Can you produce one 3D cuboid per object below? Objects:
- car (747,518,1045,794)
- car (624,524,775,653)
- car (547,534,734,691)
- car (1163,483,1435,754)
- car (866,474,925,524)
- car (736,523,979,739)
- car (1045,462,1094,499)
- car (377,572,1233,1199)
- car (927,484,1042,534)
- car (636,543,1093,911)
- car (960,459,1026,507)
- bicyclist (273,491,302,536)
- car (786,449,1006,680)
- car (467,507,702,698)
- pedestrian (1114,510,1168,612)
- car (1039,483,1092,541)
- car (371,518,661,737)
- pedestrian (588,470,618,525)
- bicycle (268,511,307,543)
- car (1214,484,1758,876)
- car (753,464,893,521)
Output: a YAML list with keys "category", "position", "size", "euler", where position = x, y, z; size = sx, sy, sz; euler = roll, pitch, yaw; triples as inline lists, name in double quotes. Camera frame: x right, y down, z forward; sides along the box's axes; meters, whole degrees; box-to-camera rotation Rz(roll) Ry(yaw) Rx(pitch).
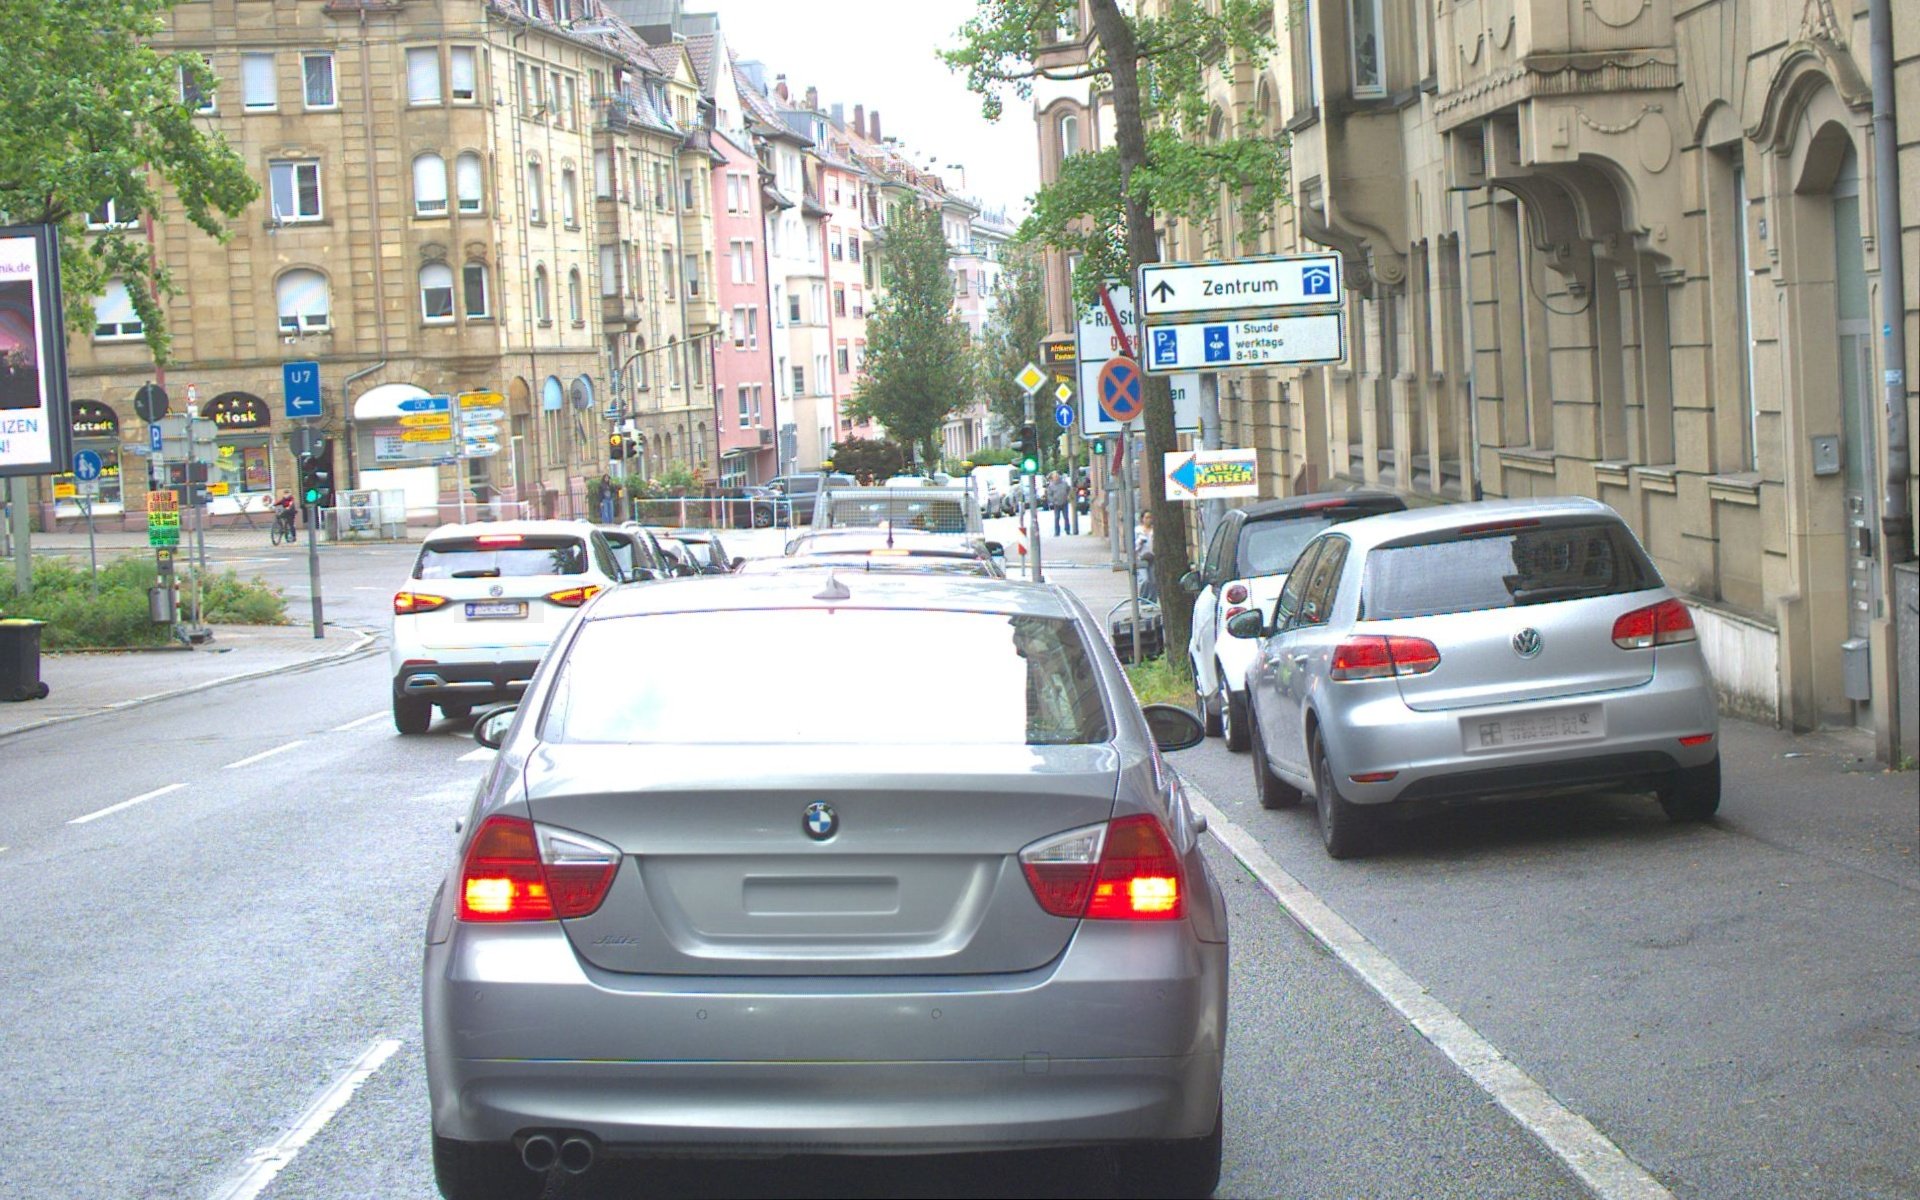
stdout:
- category: "car"
  position: [-0.329, 0.255, 20.677]
  size: [1.595, 1.459, 4.000]
  euler: [1, 2, 1]
- category: "car"
  position: [-3.618, -0.198, 48.356]
  size: [1.759, 1.702, 4.000]
  euler: [-1, 1, 1]
- category: "car"
  position: [-3.707, 0.103, 40.478]
  size: [1.759, 1.702, 4.000]
  euler: [-1, 1, 1]
- category: "car"
  position: [2.176, 0.082, 22.659]
  size: [1.299, 1.537, 2.976]
  euler: [-6, 1, -1]
- category: "car"
  position: [-1.953, -3.071, 104.737]
  size: [1.715, 1.445, 3.743]
  euler: [-2, 1, -1]
- category: "car"
  position: [-0.748, 0.183, 27.428]
  size: [1.759, 1.562, 4.000]
  euler: [-1, 1, 1]
- category: "car"
  position: [3.757, -4.093, 118.260]
  size: [1.434, 1.170, 3.435]
  euler: [1, 1, -2]
- category: "car"
  position: [-0.277, 0.663, 8.389]
  size: [1.623, 1.378, 3.615]
  euler: [-1, 1, 1]
- category: "car"
  position: [0.822, -3.008, 113.874]
  size: [1.997, 1.573, 3.993]
  euler: [1, 1, 32]
- category: "car"
  position: [-0.353, 0.462, 15.389]
  size: [1.759, 1.378, 4.000]
  euler: [-1, 1, 1]
- category: "car"
  position: [1.167, -4.090, 120.543]
  size: [1.994, 1.573, 3.999]
  euler: [1, 1, 5]
- category: "bicyclist"
  position: [-18.858, -2.425, 96.406]
  size: [0.569, 1.268, 0.689]
  euler: [1, 0, 11]
- category: "car"
  position: [-0.610, -0.358, 33.348]
  size: [1.993, 2.099, 4.000]
  euler: [0, 1, -1]
- category: "car"
  position: [-3.551, -0.030, 33.143]
  size: [1.759, 1.702, 4.000]
  euler: [-1, 1, 1]
- category: "pedestrian"
  position: [2.770, -0.602, 52.607]
  size: [0.631, 1.503, 0.693]
  euler: [-6, 1, -1]
- category: "car"
  position: [3.886, -3.237, 126.707]
  size: [1.686, 2.006, 4.000]
  euler: [-3, 2, -1]
- category: "car"
  position: [-3.499, 0.160, 27.759]
  size: [1.868, 1.620, 4.000]
  euler: [-1, 1, -1]
- category: "pedestrian"
  position: [-10.537, -3.024, 101.432]
  size: [0.732, 1.572, 0.528]
  euler: [-2, 1, 8]
- category: "bicycle"
  position: [-18.853, -2.042, 96.388]
  size: [0.573, 0.855, 1.521]
  euler: [1, 1, 10]
- category: "car"
  position: [2.332, 0.286, 16.259]
  size: [1.759, 1.446, 4.000]
  euler: [-6, 1, -1]
- category: "car"
  position: [-5.141, -4.057, 129.932]
  size: [5.176, 2.007, 2.699]
  euler: [1, 1, -1]
